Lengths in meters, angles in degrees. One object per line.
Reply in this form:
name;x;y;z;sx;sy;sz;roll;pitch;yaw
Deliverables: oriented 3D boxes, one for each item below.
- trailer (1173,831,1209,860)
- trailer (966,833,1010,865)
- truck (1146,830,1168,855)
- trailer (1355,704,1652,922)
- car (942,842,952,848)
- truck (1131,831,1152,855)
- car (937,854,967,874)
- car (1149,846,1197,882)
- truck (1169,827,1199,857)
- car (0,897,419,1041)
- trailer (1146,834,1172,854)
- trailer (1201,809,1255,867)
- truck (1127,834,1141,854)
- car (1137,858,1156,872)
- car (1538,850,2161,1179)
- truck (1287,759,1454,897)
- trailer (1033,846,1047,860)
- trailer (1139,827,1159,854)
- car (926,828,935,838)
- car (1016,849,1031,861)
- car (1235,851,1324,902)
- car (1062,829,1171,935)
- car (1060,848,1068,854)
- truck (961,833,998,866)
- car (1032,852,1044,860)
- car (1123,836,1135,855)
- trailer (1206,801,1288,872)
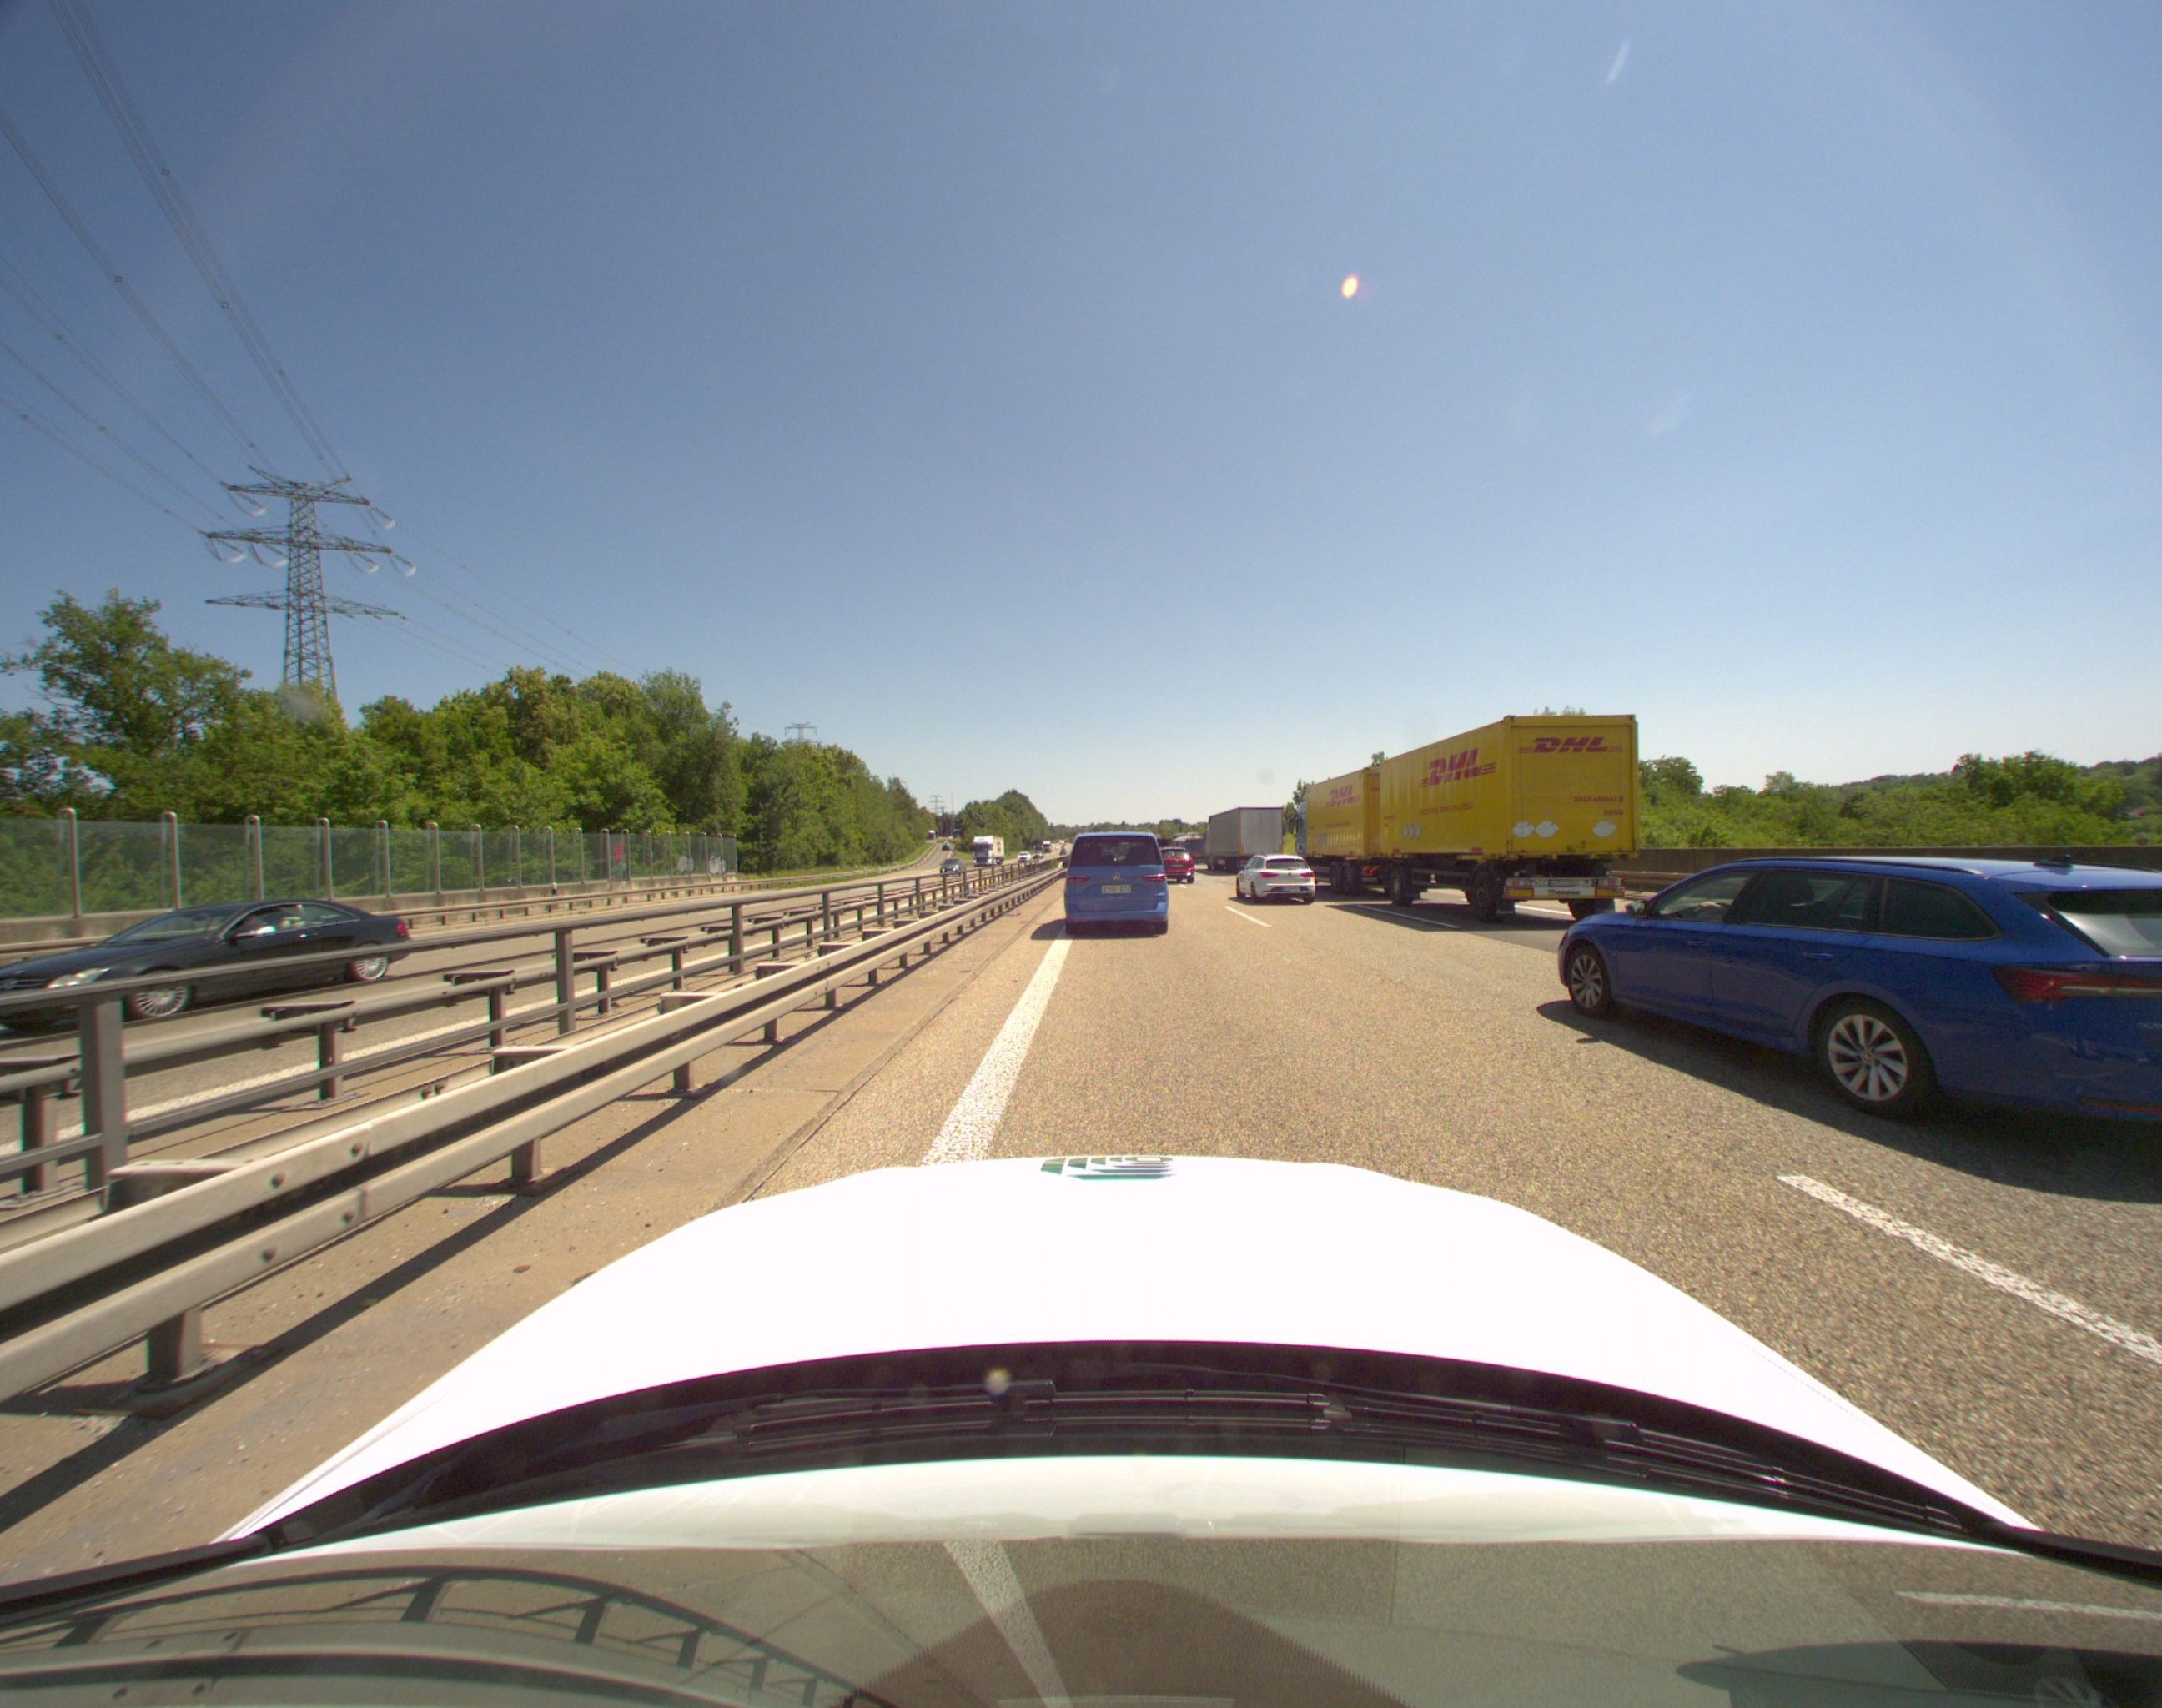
trailer;11.385;-0.987;84.983;2.734;2.836;9.119;0;1;1
trailer;-13.309;-0.642;118.243;3.973;4.235;14.047;-3;0;2
truck;13.036;-1.935;140.672;3.610;4.094;7.531;0;0;4
trailer;9.562;-0.779;20.109;2.755;4.117;9.381;0;0;2
car;-34.802;-2.288;211.609;1.991;1.576;5.264;0;0;-6
truck;13.708;-2.483;186.054;3.610;5.212;15.686;0;0;0
car;-10.487;0.813;66.466;1.646;1.462;3.544;-3;0;2
car;4.208;0.447;37.762;1.864;1.552;4.001;0;0;1
truck;11.573;-1.400;92.211;2.734;3.311;7.135;0;1;1
car;-11.845;1.417;11.248;1.754;1.319;4.272;-4;0;2
trailer;12.511;-1.480;132.078;3.631;3.079;15.785;0;0;3
trailer;10.818;-1.178;60.424;2.914;4.043;6.413;-1;1;1
truck;13.158;-2.365;202.888;3.057;4.919;10.692;0;0;1
car;7.152;1.168;89.484;1.774;1.524;4.001;-1;0;1
car;5.281;0.704;5.789;1.700;1.441;4.429;0;0;2
truck;9.905;-0.782;29.328;2.755;4.109;9.956;0;0;2
trailer;-8.372;-0.170;167.577;2.157;2.777;5.379;-5;0;2
trailer;13.715;-2.614;165.732;3.631;5.136;13.087;0;0;3
car;-46.971;-6.571;254.162;2.074;2.880;6.693;-2;0;-17
car;-8.893;0.179;125.611;1.742;1.696;4.387;-3;0;2
car;5.862;0.604;24.463;1.860;1.361;4.003;0;1;2
car;0.706;0.483;16.219;1.894;1.838;4.003;0;0;2
car;-4.198;-0.681;204.964;1.785;1.572;4.002;0;0;2
truck;-13.638;-0.594;110.065;3.991;4.228;4.860;-3;0;1
car;-8.528;0.372;162.635;1.863;1.625;4.631;0;0;2
car;13.621;-2.484;230.864;3.206;5.257;8.147;0;0;2
trailer;10.661;-1.091;54.081;2.951;4.049;13.757;-1;1;1
